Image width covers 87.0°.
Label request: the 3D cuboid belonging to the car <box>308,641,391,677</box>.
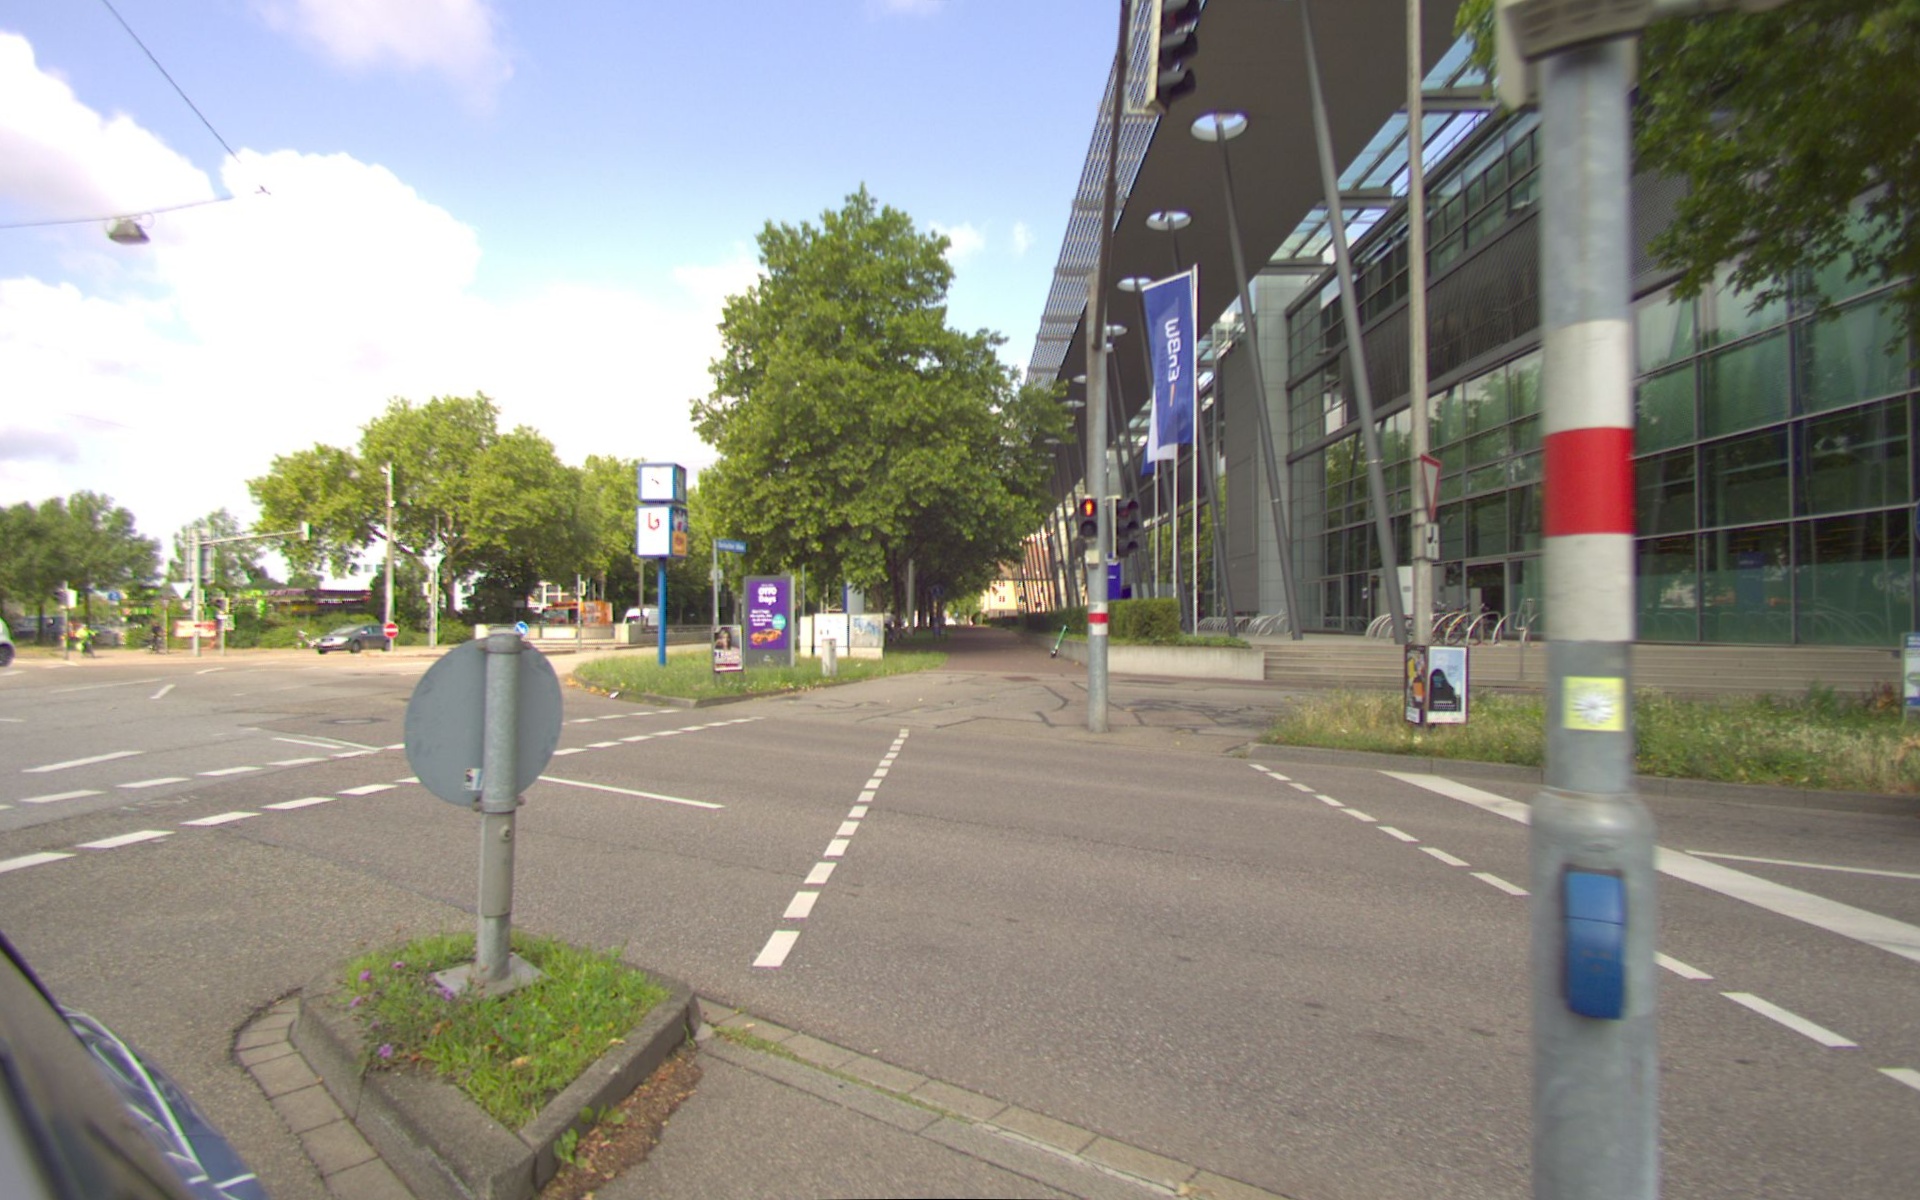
[{"bbox_3d":[-30.408,2.913,50.549,1.748,1.475,4.000,-1,1,0],"label":"car"}]

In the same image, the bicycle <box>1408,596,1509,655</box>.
[{"bbox_3d":[12.692,0.634,25.821,2.114,1.394,0.740,2,1,8],"label":"bicycle"}]

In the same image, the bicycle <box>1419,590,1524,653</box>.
[{"bbox_3d":[12.654,0.510,25.068,2.153,1.451,0.690,2,1,7],"label":"bicycle"}]

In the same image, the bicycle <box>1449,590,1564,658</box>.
[{"bbox_3d":[12.533,0.534,23.248,2.153,1.451,0.690,2,1,7],"label":"bicycle"}]

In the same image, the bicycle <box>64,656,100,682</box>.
[{"bbox_3d":[-46.123,3.631,53.160,2.223,1.205,0.671,1,3,29],"label":"bicycle"}]

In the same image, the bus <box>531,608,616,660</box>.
[{"bbox_3d":[-30.569,2.546,80.586,2.708,3.491,10.394,2,1,0],"label":"bus"}]

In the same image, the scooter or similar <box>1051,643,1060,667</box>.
[{"bbox_3d":[3.206,1.841,33.951,0.238,0.718,1.229,3,1,4],"label":"scooter or similar"}]

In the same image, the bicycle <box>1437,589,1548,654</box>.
[{"bbox_3d":[12.609,0.495,24.021,2.153,1.451,0.690,2,1,7],"label":"bicycle"}]

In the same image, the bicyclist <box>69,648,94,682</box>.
[{"bbox_3d":[-46.025,3.388,53.036,0.833,1.692,0.671,1,3,28],"label":"bicyclist"}]

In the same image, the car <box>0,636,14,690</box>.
[{"bbox_3d":[-27.467,1.710,26.696,1.713,1.497,3.603,-1,-3,-2],"label":"car"}]

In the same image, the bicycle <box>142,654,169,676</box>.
[{"bbox_3d":[-44.705,3.604,56.239,2.232,1.205,0.781,-2,-2,42],"label":"bicycle"}]

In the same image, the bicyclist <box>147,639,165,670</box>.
[{"bbox_3d":[-44.813,3.051,56.402,0.754,1.699,0.668,-2,-2,41],"label":"bicyclist"}]

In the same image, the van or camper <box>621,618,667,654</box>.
[{"bbox_3d":[-27.624,3.116,88.623,2.134,2.806,5.967,3,1,-1],"label":"van or camper"}]

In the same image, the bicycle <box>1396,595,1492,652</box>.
[{"bbox_3d":[12.750,0.600,26.716,2.114,1.394,0.740,2,1,8],"label":"bicycle"}]
